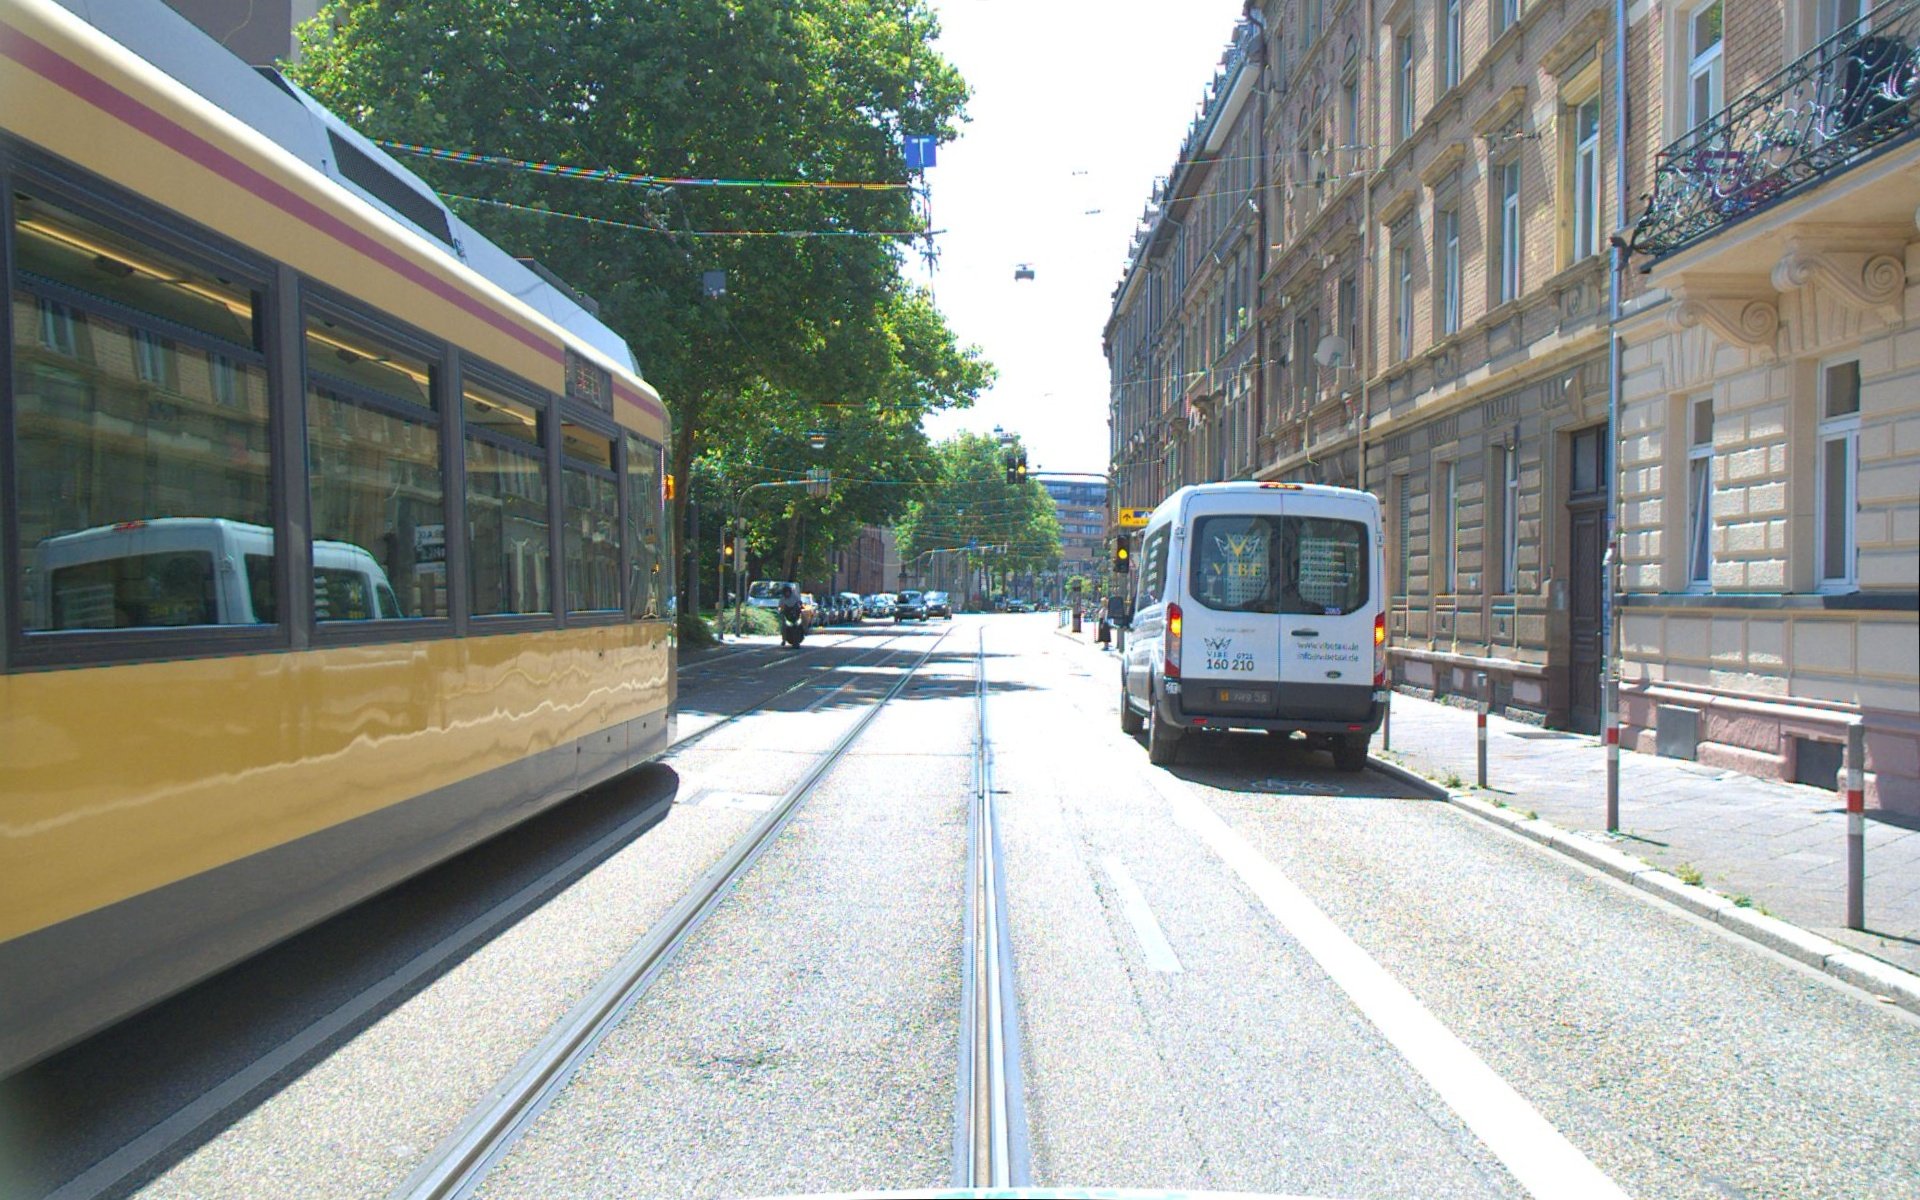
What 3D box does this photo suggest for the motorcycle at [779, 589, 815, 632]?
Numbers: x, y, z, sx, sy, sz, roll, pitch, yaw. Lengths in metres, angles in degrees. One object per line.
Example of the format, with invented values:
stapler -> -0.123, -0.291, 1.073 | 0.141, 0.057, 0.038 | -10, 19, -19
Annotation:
motorcycle -> -4.518, 0.278, 45.710 | 0.930, 1.133, 1.600 | 1, 0, -7

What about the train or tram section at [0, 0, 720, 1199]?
train or tram section -> -3.582, -0.337, 7.609 | 2.900, 3.643, 13.423 | 1, 0, 0

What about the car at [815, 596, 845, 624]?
car -> -7.335, 0.534, 93.568 | 1.425, 1.522, 3.661 | 1, 0, -1

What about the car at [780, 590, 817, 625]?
car -> -7.523, 0.334, 77.266 | 1.425, 1.522, 3.661 | 1, 0, -1

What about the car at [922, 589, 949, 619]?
car -> -1.638, 0.269, 107.414 | 1.640, 1.892, 3.998 | 1, 0, -2

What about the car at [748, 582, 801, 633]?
car -> -7.489, 0.283, 67.036 | 1.764, 1.956, 3.999 | 1, 0, -2

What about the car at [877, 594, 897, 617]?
car -> -5.609, 0.422, 126.993 | 1.425, 1.761, 3.192 | 1, 0, -2

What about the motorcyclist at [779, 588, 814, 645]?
motorcyclist -> -4.560, 0.451, 46.023 | 0.922, 1.559, 0.500 | 1, 0, -7

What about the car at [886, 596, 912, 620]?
car -> -3.663, 0.471, 99.682 | 1.497, 1.433, 3.488 | 1, 0, -2

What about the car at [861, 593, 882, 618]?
car -> -6.497, 0.411, 122.034 | 1.425, 1.761, 3.192 | 1, 0, -2

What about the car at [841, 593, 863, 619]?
car -> -7.587, 0.415, 116.431 | 1.425, 1.761, 3.192 | 1, 0, -2

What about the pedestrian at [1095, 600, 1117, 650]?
pedestrian -> 4.623, 0.792, 52.357 | 0.606, 1.566, 0.464 | 1, 0, -2

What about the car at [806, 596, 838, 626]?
car -> -7.301, 0.543, 87.685 | 1.425, 1.522, 3.661 | 1, 0, -1

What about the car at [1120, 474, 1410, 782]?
car -> 2.844, 0.230, 16.735 | 2.024, 2.544, 5.455 | 2, 0, 2
